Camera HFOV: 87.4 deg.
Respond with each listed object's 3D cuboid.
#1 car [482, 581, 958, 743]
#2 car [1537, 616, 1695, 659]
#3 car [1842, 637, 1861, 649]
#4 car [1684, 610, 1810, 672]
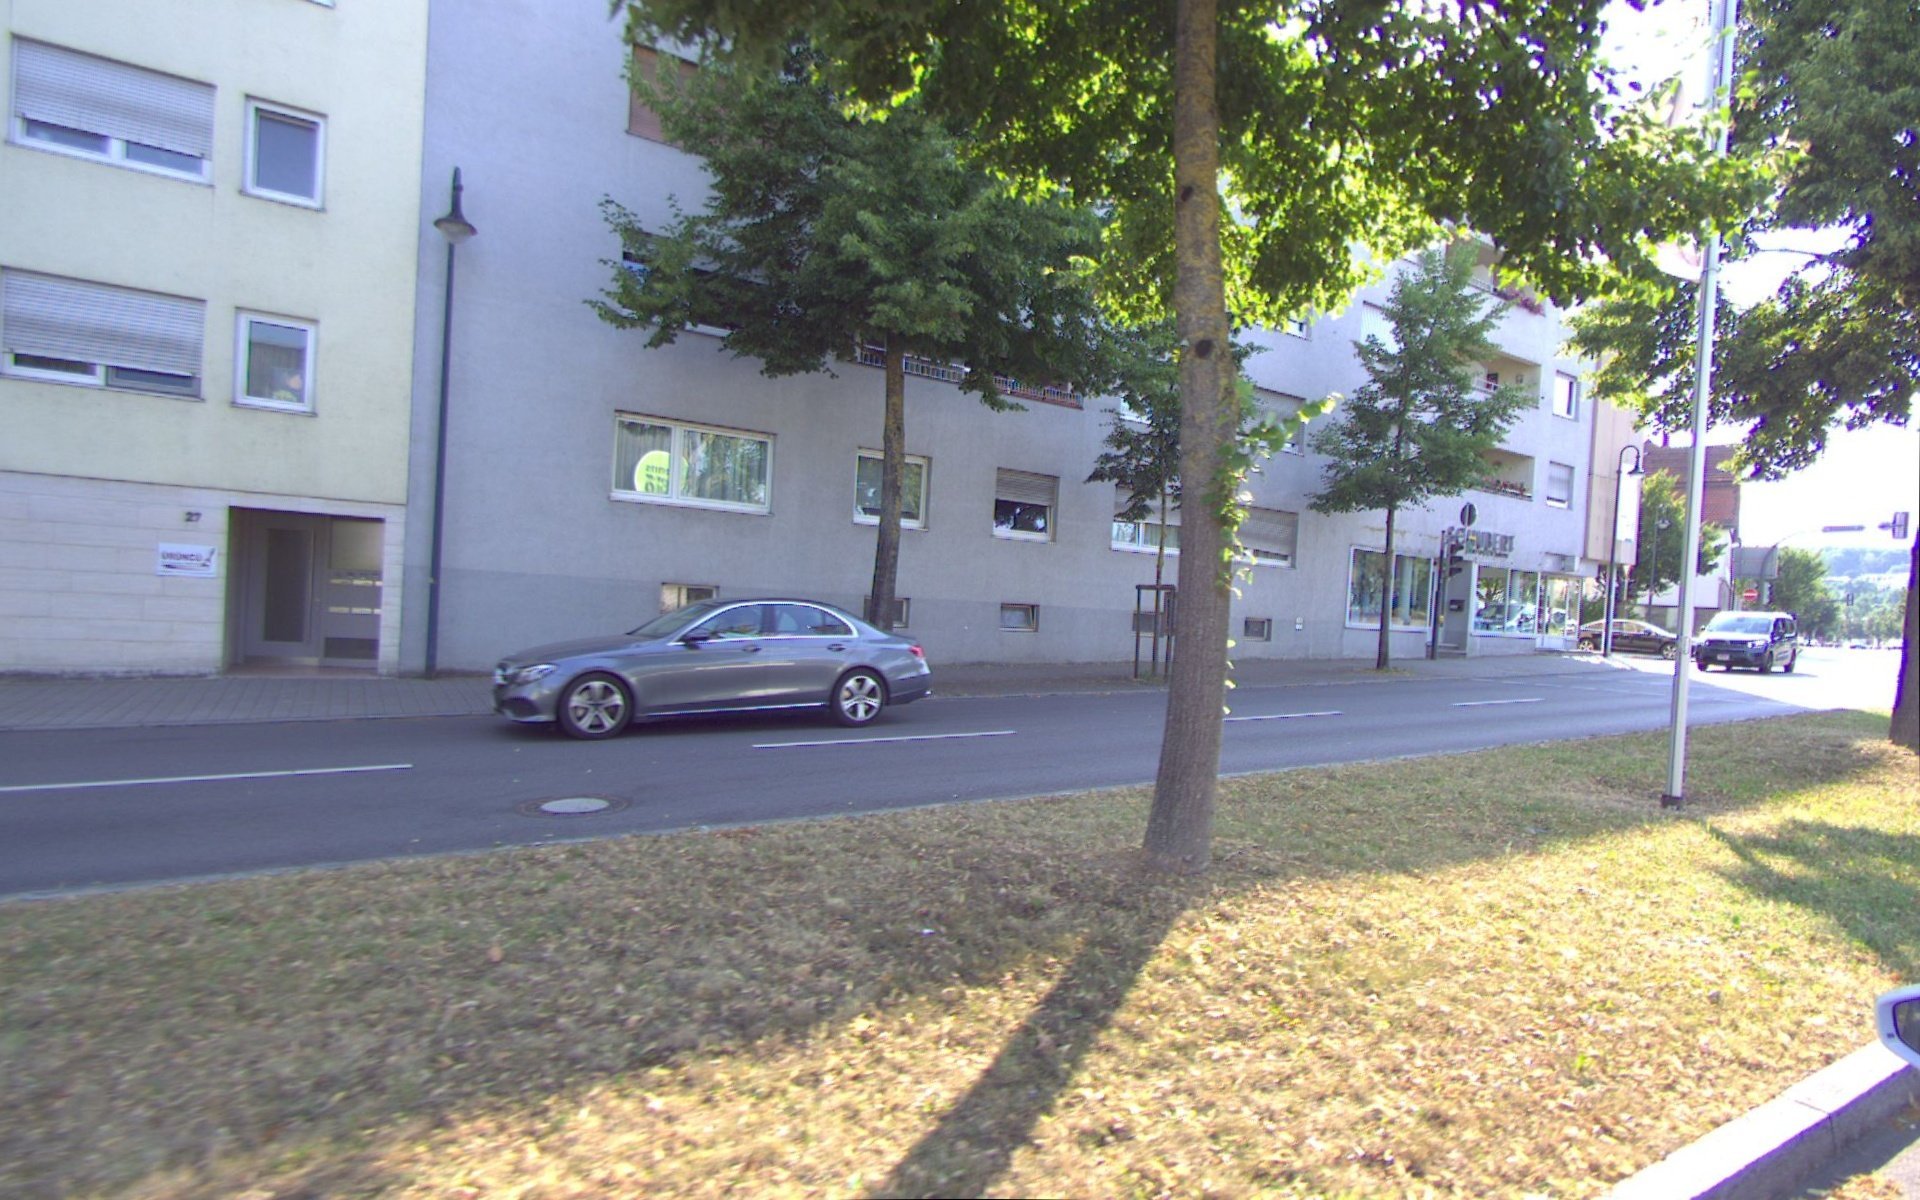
[{"bbox_3d":[-2.603,0.646,11.453,4.943,1.506,1.841,2,0,-33],"label":"car"},{"bbox_3d":[25.430,1.423,39.077,1.902,1.456,4.817,2,0,-40],"label":"car"},{"bbox_3d":[114.129,5.493,128.525,1.737,1.379,4.459,2,0,43],"label":"car"},{"bbox_3d":[24.403,1.268,31.104,4.876,1.759,1.839,2,0,-37],"label":"car"}]
